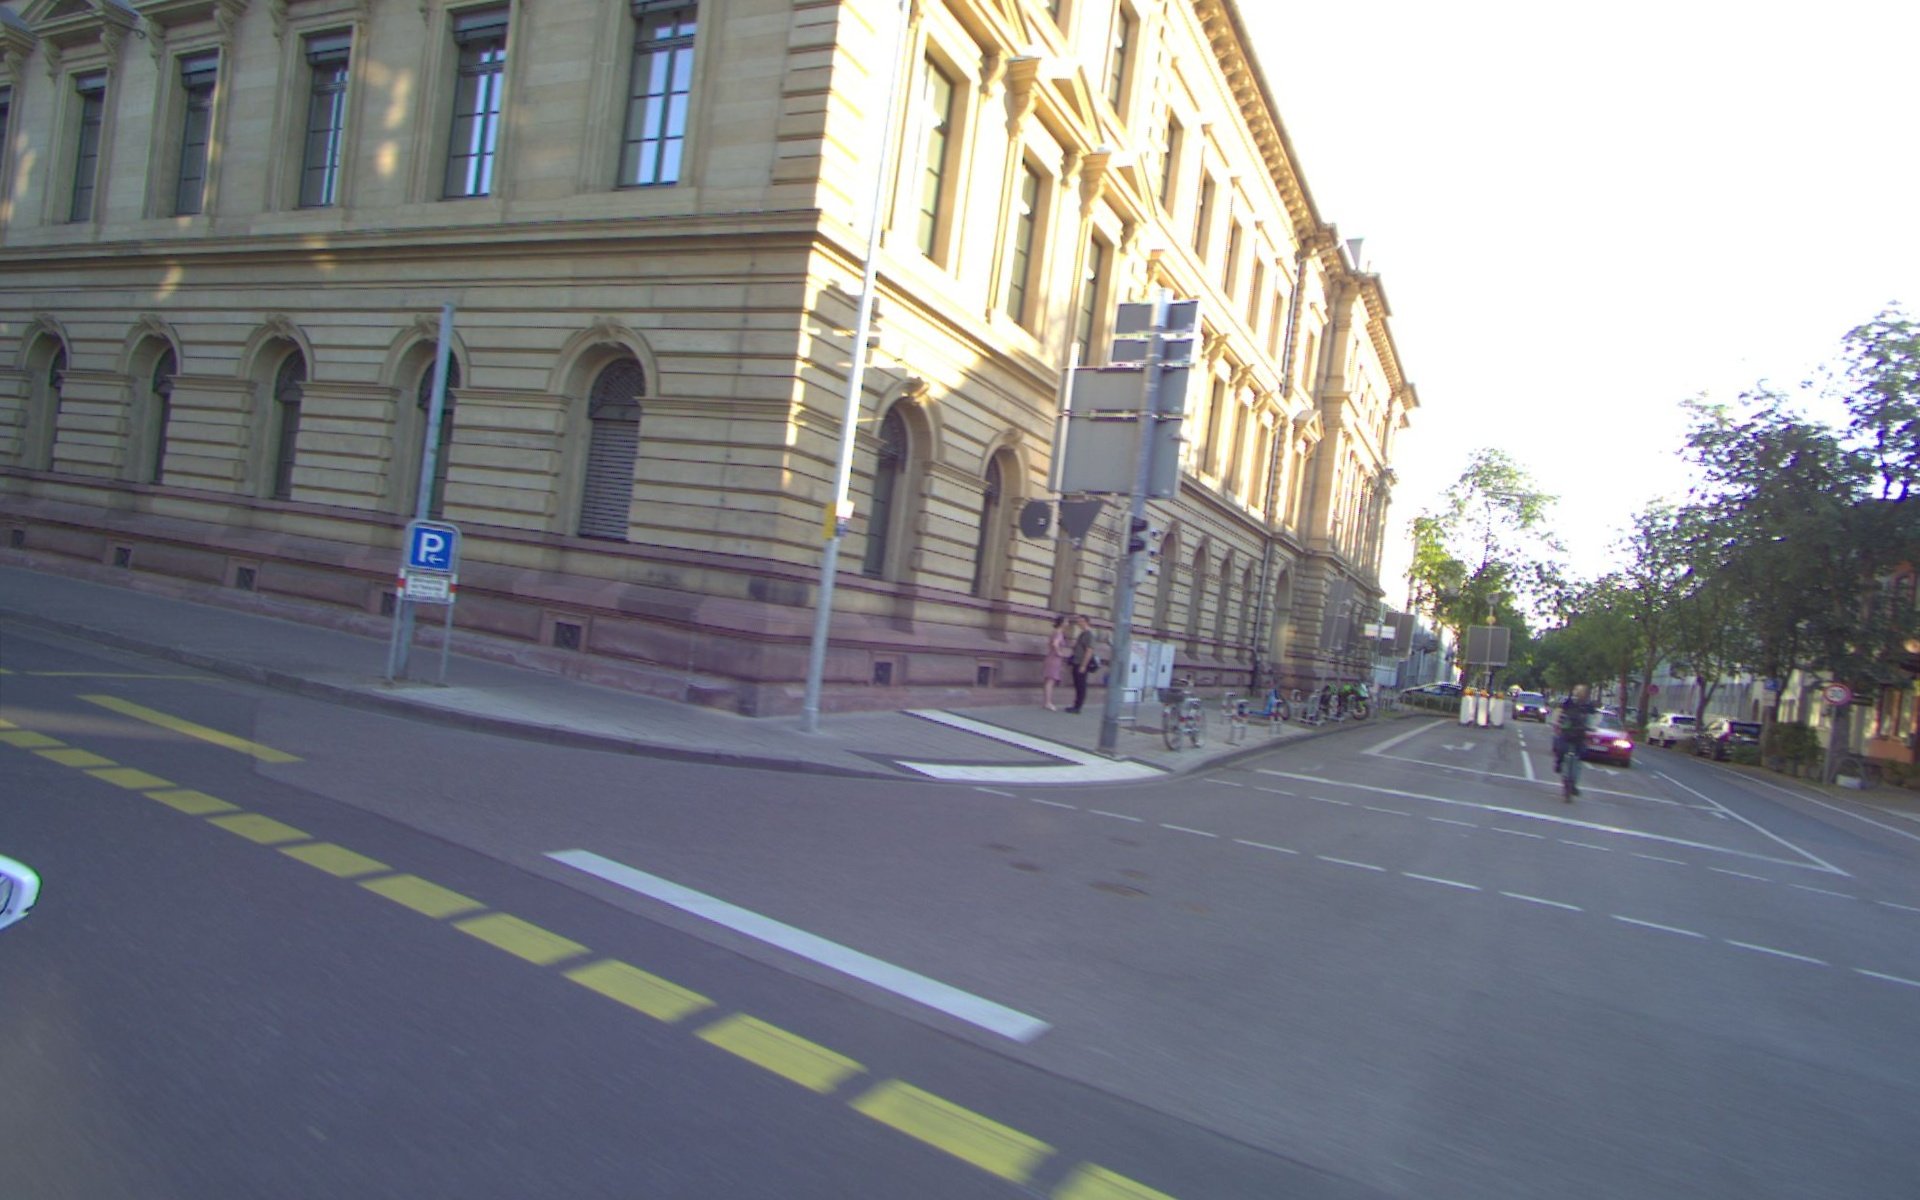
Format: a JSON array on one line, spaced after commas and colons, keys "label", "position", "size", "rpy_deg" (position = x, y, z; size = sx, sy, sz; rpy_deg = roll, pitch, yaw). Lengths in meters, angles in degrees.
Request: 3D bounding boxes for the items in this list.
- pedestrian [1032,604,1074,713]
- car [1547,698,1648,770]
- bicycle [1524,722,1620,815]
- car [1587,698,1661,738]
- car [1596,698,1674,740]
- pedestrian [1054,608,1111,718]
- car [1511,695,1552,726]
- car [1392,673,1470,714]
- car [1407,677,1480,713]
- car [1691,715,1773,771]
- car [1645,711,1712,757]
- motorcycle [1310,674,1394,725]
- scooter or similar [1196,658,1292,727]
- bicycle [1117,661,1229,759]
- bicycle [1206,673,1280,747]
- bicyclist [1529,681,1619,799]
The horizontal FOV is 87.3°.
[{"label": "pedestrian", "position": [1.656, 1.033, 17.975], "size": [0.420, 1.880, 0.449], "rpy_deg": [7, 0, -8]}, {"label": "car", "position": [17.586, 3.646, 27.944], "size": [1.977, 1.529, 4.012], "rpy_deg": [5, -1, 29]}, {"label": "bicycle", "position": [9.676, 2.619, 16.022], "size": [0.960, 1.118, 2.582], "rpy_deg": [8, -1, 27]}, {"label": "car", "position": [44.961, 7.963, 68.146], "size": [3.937, 2.038, 1.995], "rpy_deg": [7, 0, 36]}, {"label": "car", "position": [43.919, 7.704, 65.465], "size": [3.937, 2.038, 1.995], "rpy_deg": [7, 0, 36]}, {"label": "pedestrian", "position": [2.207, 1.122, 18.133], "size": [0.530, 1.880, 0.617], "rpy_deg": [7, 0, -32]}, {"label": "car", "position": [35.803, 6.897, 63.083], "size": [1.977, 1.640, 4.013], "rpy_deg": [5, -2, 29]}, {"label": "car", "position": [26.474, 5.254, 56.576], "size": [3.660, 1.726, 1.882], "rpy_deg": [7, 0, 32]}, {"label": "car", "position": [32.089, 6.290, 66.809], "size": [4.093, 1.704, 1.997], "rpy_deg": [7, 0, 30]}, {"label": "car", "position": [32.120, 5.902, 41.976], "size": [1.966, 1.815, 3.905], "rpy_deg": [7, -1, 29]}, {"label": "car", "position": [35.538, 6.580, 49.865], "size": [1.965, 1.815, 3.906], "rpy_deg": [7, -1, 27]}, {"label": "motorcycle", "position": [12.529, 3.174, 32.214], "size": [0.877, 1.218, 2.290], "rpy_deg": [8, 0, -36]}, {"label": "scooter or similar", "position": [6.807, 2.204, 24.144], "size": [1.880, 1.343, 0.922], "rpy_deg": [7, 0, 34]}, {"label": "bicycle", "position": [3.267, 1.628, 15.283], "size": [0.847, 1.222, 2.052], "rpy_deg": [12, 3, 31]}, {"label": "bicycle", "position": [5.111, 1.962, 18.103], "size": [0.684, 1.158, 1.726], "rpy_deg": [11, 1, 31]}, {"label": "bicyclist", "position": [9.684, 2.183, 15.916], "size": [0.952, 1.652, 1.045], "rpy_deg": [8, 0, 27]}]
